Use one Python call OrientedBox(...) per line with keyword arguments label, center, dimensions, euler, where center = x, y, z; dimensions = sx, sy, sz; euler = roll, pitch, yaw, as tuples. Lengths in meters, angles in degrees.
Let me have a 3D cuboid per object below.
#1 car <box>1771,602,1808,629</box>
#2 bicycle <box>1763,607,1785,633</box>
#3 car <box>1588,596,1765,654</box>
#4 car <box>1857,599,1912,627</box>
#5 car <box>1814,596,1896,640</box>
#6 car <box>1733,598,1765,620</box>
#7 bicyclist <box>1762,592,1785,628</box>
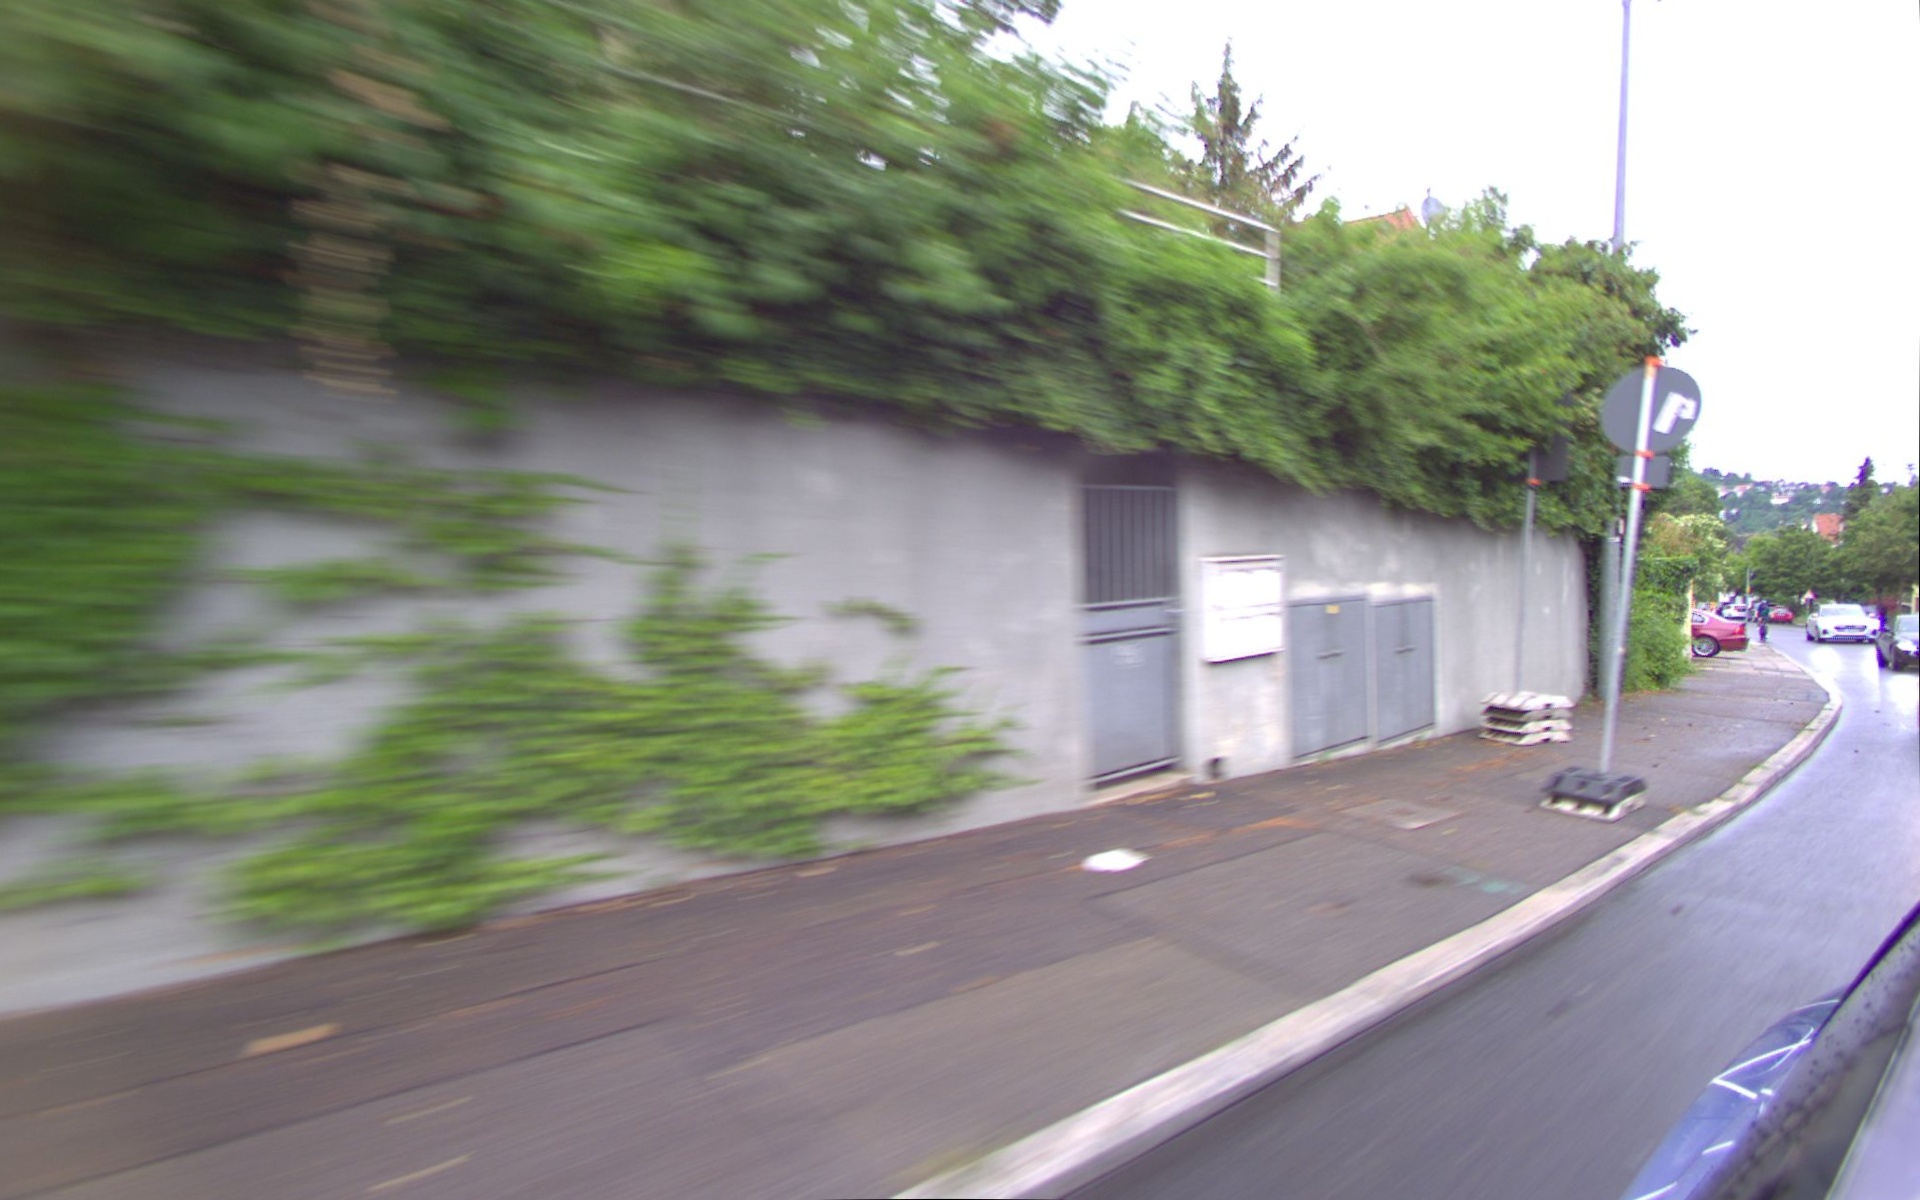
OrientedBox(label="car", center=(67.430, 1.235, 82.265), dimensions=(1.994, 2.039, 3.937), euler=(2, 1, 44))
OrientedBox(label="bicycle", center=(36.194, 0.872, 45.016), dimensions=(0.586, 1.113, 1.510), euler=(-1, 0, 33))
OrientedBox(label="car", center=(21.471, 0.709, 30.414), dimensions=(4.168, 1.423, 1.807), euler=(4, 2, 41))
OrientedBox(label="car", center=(57.807, 0.764, 63.362), dimensions=(1.898, 1.620, 4.040), euler=(2, 1, 33))
OrientedBox(label="car", center=(38.274, 0.731, 43.392), dimensions=(2.005, 1.760, 4.543), euler=(-1, 0, 34))
OrientedBox(label="car", center=(75.618, 0.844, 97.039), dimensions=(1.985, 2.039, 3.954), euler=(2, 1, 32))
OrientedBox(label="bicyclist", center=(36.215, 0.442, 45.057), dimensions=(0.680, 1.557, 0.775), euler=(-2, -1, 34))
